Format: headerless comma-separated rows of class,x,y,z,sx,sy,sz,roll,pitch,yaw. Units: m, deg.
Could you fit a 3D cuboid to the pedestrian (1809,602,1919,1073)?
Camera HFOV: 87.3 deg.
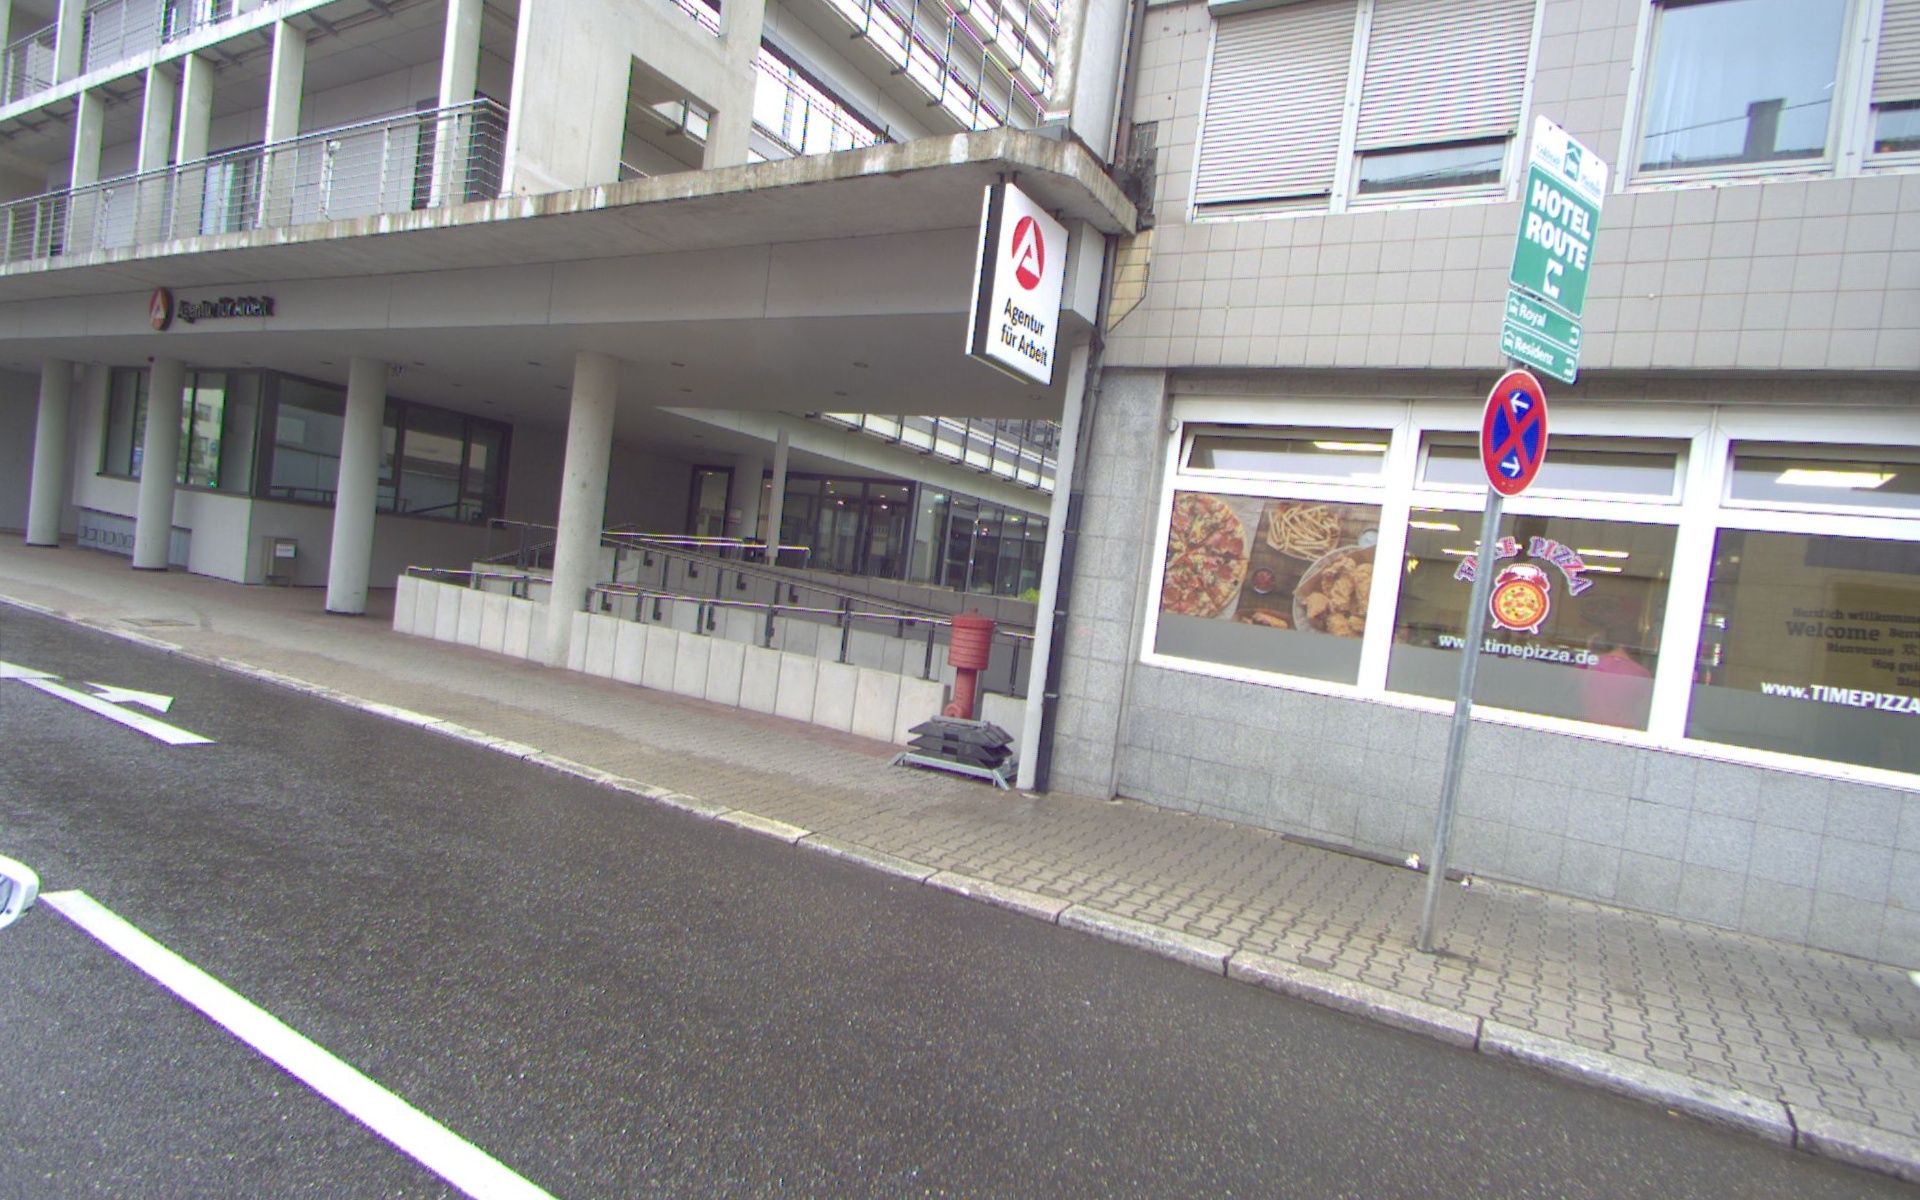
pedestrian,4.476,1.008,4.208,1.101,1.893,0.868,6,5,32
